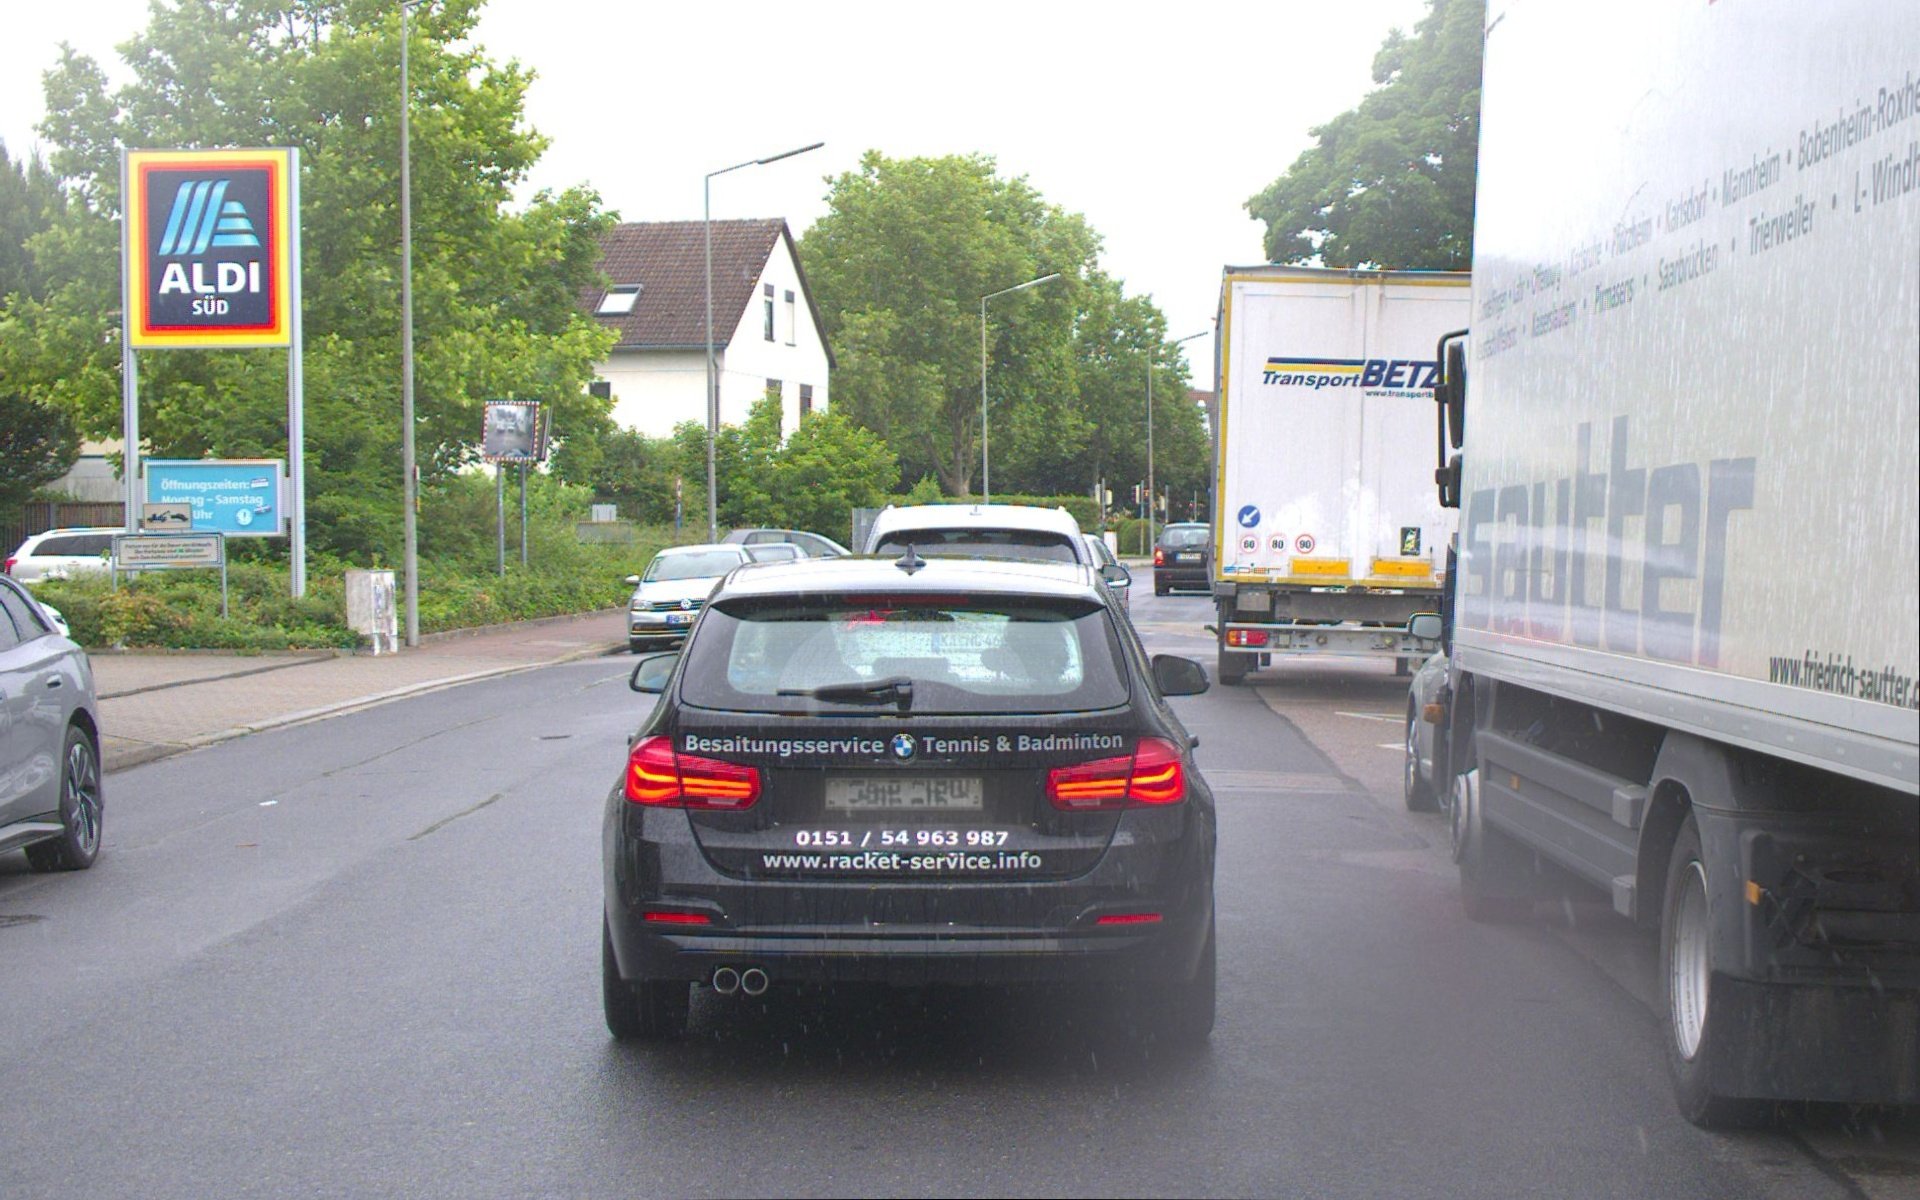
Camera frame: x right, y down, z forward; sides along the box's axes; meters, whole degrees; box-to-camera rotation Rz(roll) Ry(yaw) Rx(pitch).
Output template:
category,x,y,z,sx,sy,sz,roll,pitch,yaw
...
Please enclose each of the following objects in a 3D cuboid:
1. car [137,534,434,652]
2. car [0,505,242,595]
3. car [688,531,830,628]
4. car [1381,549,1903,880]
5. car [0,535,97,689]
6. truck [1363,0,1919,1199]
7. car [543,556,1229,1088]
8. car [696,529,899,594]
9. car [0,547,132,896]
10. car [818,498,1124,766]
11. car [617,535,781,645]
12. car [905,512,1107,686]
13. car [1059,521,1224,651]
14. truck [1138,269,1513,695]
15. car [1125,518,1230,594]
category,x,y,z,sx,sy,sz,roll,pitch,yaw
car,-8.992,-0.111,45.991,3.570,1.455,1.712,1,1,2
car,-14.718,-0.875,59.866,3.987,1.535,1.911,0,1,2
car,-3.130,-0.349,54.166,1.706,1.362,3.838,-3,1,4
car,3.320,0.480,17.562,1.797,1.436,4.345,-1,1,0
car,-10.728,0.086,33.575,4.190,1.455,1.712,0,1,-2
truck,3.159,-0.599,10.451,2.741,3.776,9.299,2,1,1
car,-0.247,0.563,11.095,1.804,1.390,4.000,0,1,-1
car,-3.435,-0.830,73.125,4.187,1.358,1.589,0,1,2
car,-5.136,0.594,15.046,1.809,1.523,4.748,-4,1,0
car,0.011,0.161,22.412,1.804,1.581,4.000,0,1,-1
car,-3.606,-0.176,48.154,1.705,1.362,4.601,-3,1,2
car,0.392,-0.039,33.481,1.804,1.581,4.000,0,1,-1
car,2.411,-0.204,46.591,1.993,1.678,4.000,0,1,0
truck,3.369,-1.103,33.669,2.741,3.598,7.750,2,1,0
car,4.771,-0.962,75.028,1.805,1.581,3.998,1,1,11
